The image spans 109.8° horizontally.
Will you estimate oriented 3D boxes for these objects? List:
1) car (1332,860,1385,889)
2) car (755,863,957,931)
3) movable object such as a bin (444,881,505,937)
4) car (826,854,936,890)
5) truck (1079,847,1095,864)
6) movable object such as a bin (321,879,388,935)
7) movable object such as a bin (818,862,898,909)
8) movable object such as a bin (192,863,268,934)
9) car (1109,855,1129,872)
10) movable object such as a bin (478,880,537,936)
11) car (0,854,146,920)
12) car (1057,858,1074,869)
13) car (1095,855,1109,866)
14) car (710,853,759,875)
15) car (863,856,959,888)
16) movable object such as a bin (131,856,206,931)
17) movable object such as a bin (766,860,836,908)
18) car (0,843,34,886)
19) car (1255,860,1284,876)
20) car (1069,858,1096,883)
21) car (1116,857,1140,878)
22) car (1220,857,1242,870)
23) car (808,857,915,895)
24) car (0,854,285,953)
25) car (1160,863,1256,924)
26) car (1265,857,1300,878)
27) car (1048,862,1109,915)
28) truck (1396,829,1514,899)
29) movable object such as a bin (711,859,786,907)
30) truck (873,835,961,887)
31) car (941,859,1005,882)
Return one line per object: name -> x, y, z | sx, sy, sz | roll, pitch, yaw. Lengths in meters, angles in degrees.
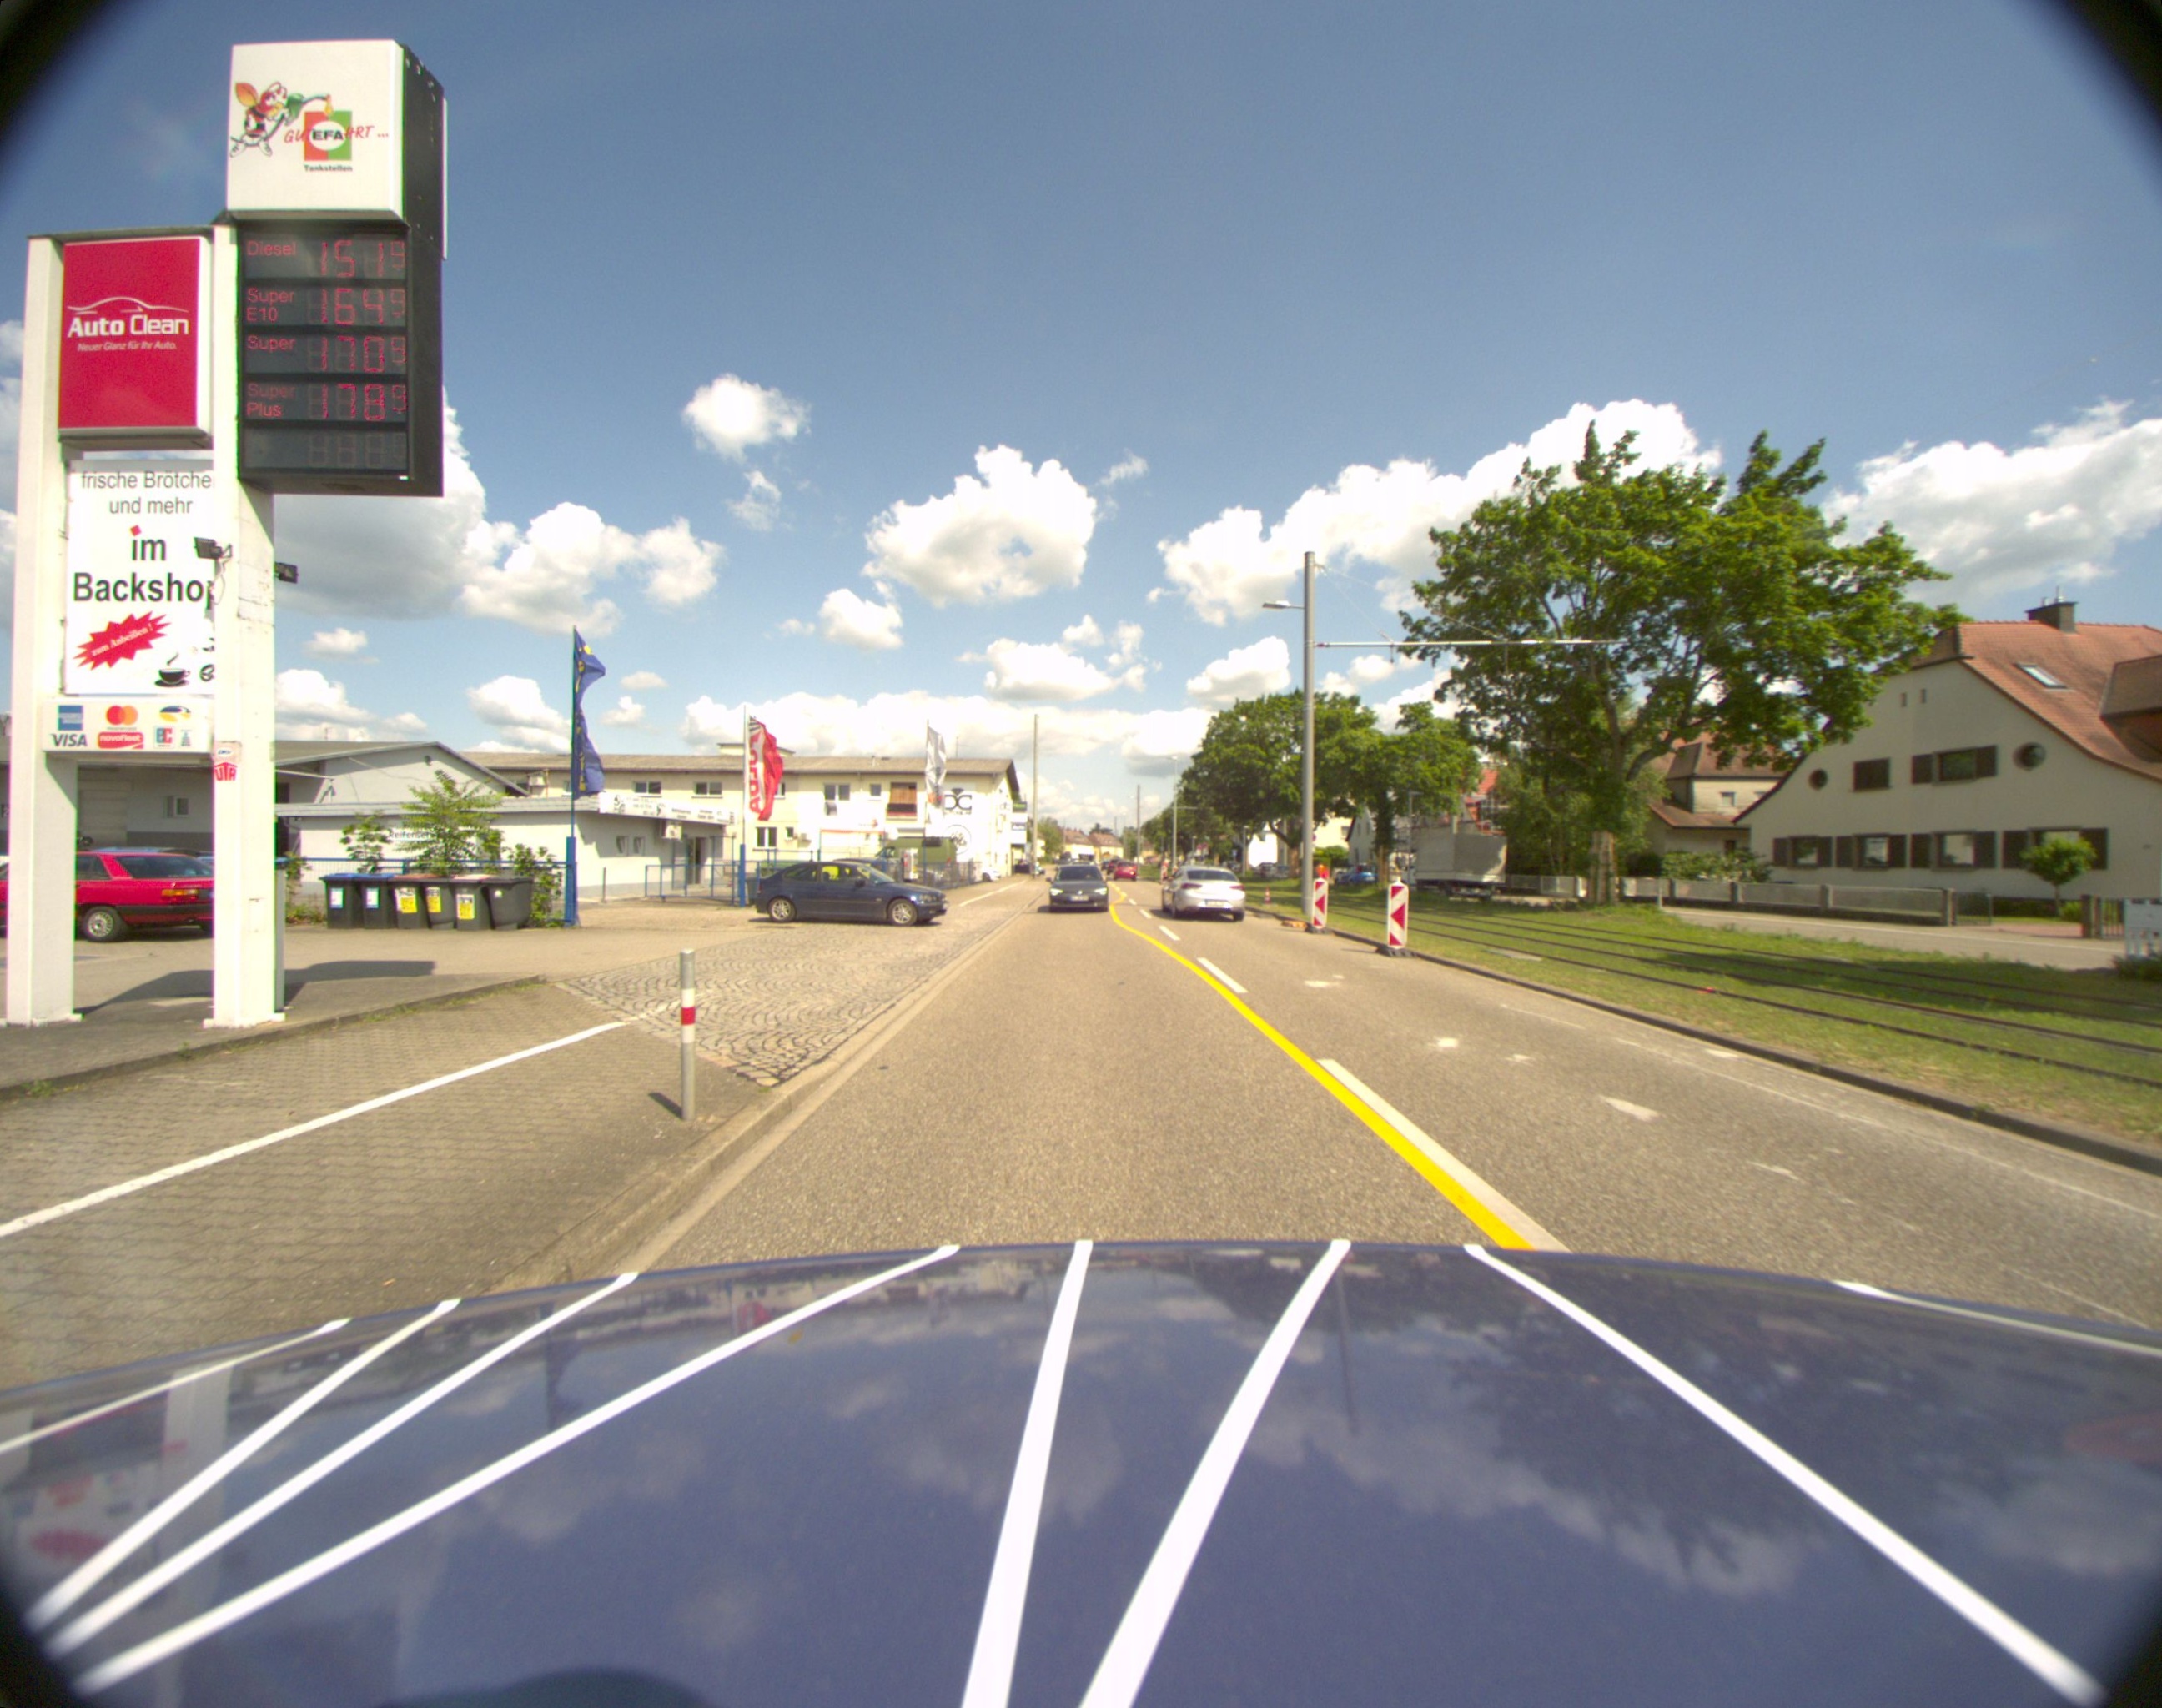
car -> 16.170, 1.174, 44.466 | 1.672, 1.504, 3.930 | -1, 1, 0
car -> -5.026, 0.931, 17.232 | 4.061, 1.400, 1.648 | 0, 1, 6
movable object such as a bin -> -11.687, 1.047, 14.656 | 0.582, 1.004, 0.706 | -1, 1, -1
car -> -8.753, 0.783, 33.315 | 4.254, 1.496, 1.829 | -1, 1, 17
truck -> 1.093, 0.173, 136.760 | 2.632, 2.871, 7.923 | -1, 1, 1
movable object such as a bin -> -14.021, 1.014, 14.682 | 0.582, 1.004, 0.706 | -1, 1, -1
movable object such as a bin -> -6.976, 0.960, 23.918 | 1.968, 1.339, 1.708 | -1, 1, 0
movable object such as a bin -> -16.059, 0.819, 14.360 | 0.582, 1.289, 0.706 | -1, 1, -1
car -> 3.808, 0.941, 77.130 | 1.801, 1.680, 4.221 | 2, 0, 0
movable object such as a bin -> -11.066, 1.032, 14.676 | 0.582, 1.004, 0.706 | -1, 1, -1
car -> -22.070, 0.652, 15.866 | 3.309, 1.218, 1.487 | 1, 1, 2
car -> -2.089, 1.258, 104.199 | 1.823, 1.412, 4.002 | 1, 0, 6
car -> 3.009, 0.891, 109.067 | 1.715, 1.477, 4.535 | 2, 0, -1
car -> -21.575, 0.624, 47.438 | 1.453, 1.254, 3.276 | -1, 1, 1
car -> -8.488, 0.895, 38.105 | 4.257, 1.499, 1.828 | -1, 1, 8
movable object such as a bin -> -17.422, 0.738, 14.522 | 0.582, 1.383, 0.706 | 1, 0, -1
movable object such as a bin -> -8.779, 0.921, 23.952 | 1.536, 1.402, 1.765 | -1, 1, 0
car -> -44.449, 0.418, 29.884 | 1.540, 1.731, 3.598 | -1, 0, -1
car -> 16.776, 1.213, 67.686 | 1.625, 1.235, 3.787 | -1, 1, 1
car -> 0.127, 0.977, 47.238 | 1.594, 1.418, 3.707 | -1, 1, 1
car -> 3.505, 0.998, 57.377 | 1.582, 1.460, 3.720 | 1, 0, 1
car -> 16.529, 1.060, 83.953 | 1.636, 1.294, 4.000 | -1, 1, 1
car -> -8.879, 0.858, 30.814 | 3.902, 1.454, 1.628 | 0, 1, 17
car -> -16.221, 0.761, 12.642 | 4.144, 1.416, 1.771 | 1, 1, 2
car -> 3.353, 0.991, 20.884 | 1.826, 1.436, 4.483 | 2, 0, 0
car -> 16.399, 1.074, 62.103 | 1.707, 1.504, 4.524 | -1, 1, 0
car -> -0.020, 1.020, 24.005 | 1.743, 1.410, 4.381 | -1, 1, 1
truck -> 16.448, 0.393, 33.912 | 2.371, 2.789, 5.950 | -1, 1, 1
movable object such as a bin -> -10.396, 0.875, 23.879 | 1.536, 1.402, 1.765 | -1, 1, 0
truck -> -8.747, 0.339, 40.847 | 4.181, 2.645, 2.108 | -1, 1, 2
car -> -6.816, 1.041, 48.042 | 3.725, 1.350, 1.518 | -1, 1, 4
